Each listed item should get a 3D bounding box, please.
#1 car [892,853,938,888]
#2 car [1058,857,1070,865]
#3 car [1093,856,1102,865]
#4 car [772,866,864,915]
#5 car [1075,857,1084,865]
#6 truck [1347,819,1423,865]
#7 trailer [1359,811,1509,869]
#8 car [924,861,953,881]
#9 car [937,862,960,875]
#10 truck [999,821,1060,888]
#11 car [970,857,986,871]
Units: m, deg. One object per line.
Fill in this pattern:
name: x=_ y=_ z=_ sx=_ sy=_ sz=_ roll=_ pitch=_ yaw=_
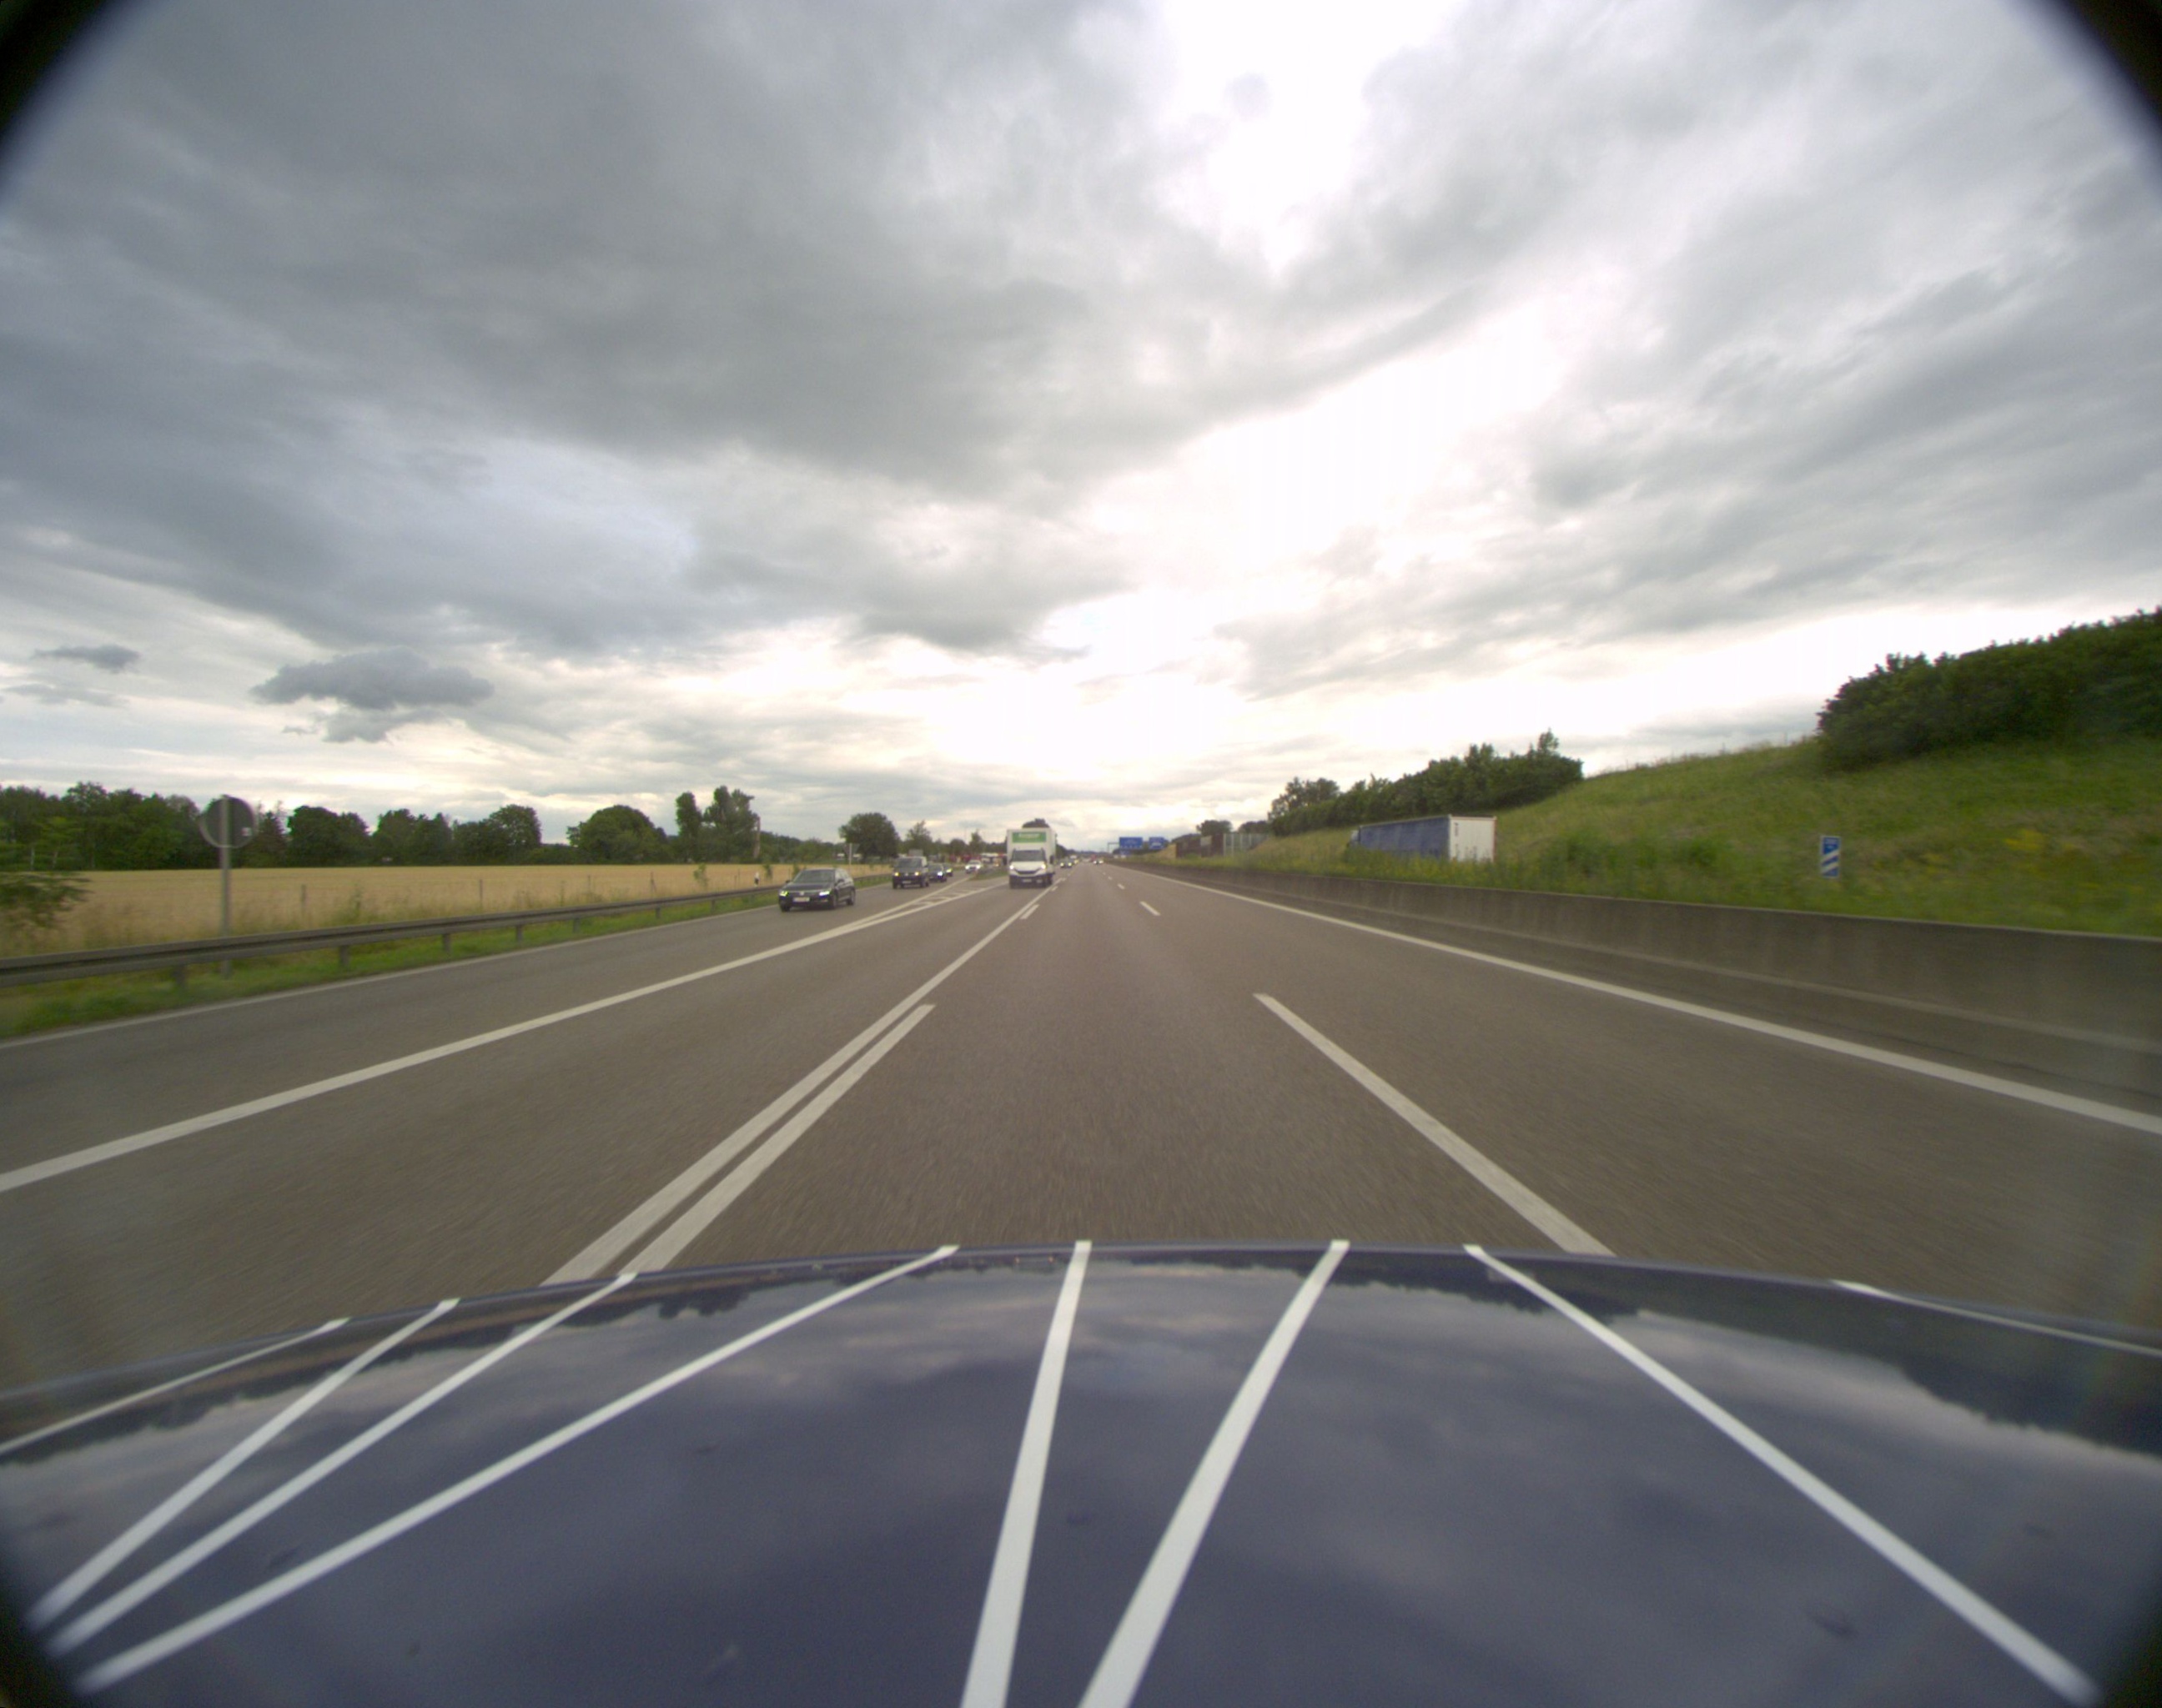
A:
car: x=-10.500 y=1.026 z=48.431 sx=2.150 sy=2.051 sz=4.955 roll=-2 pitch=0 yaw=-5
car: x=-2.872 y=1.179 z=128.901 sx=1.781 sy=1.180 sz=4.000 roll=-1 pitch=0 yaw=0
car: x=4.148 y=1.647 z=191.899 sx=1.998 sy=2.002 sz=4.000 roll=0 pitch=0 yaw=1
car: x=-9.428 y=1.242 z=27.673 sx=1.923 sy=1.541 sz=4.922 roll=0 pitch=0 yaw=-4
car: x=-0.351 y=1.712 z=190.796 sx=1.998 sy=2.002 sz=4.000 roll=0 pitch=0 yaw=1
truck: x=21.494 y=-0.815 z=54.084 sx=2.917 sy=2.929 sz=6.115 roll=-3 pitch=0 yaw=1
trailer: x=21.408 y=-0.785 z=47.537 sx=2.928 sy=2.938 sz=13.970 roll=-3 pitch=0 yaw=1
car: x=-11.201 y=1.308 z=59.896 sx=1.755 sy=1.476 sz=4.591 roll=-2 pitch=0 yaw=-6
car: x=-14.759 y=1.566 z=84.926 sx=1.833 sy=1.308 sz=5.712 roll=-2 pitch=0 yaw=-4
truck: x=-2.890 y=0.041 z=45.053 sx=2.777 sy=3.484 sz=9.062 roll=-2 pitch=0 yaw=0
car: x=-13.975 y=1.349 z=103.328 sx=1.833 sy=1.746 sz=5.064 roll=-1 pitch=0 yaw=-3
